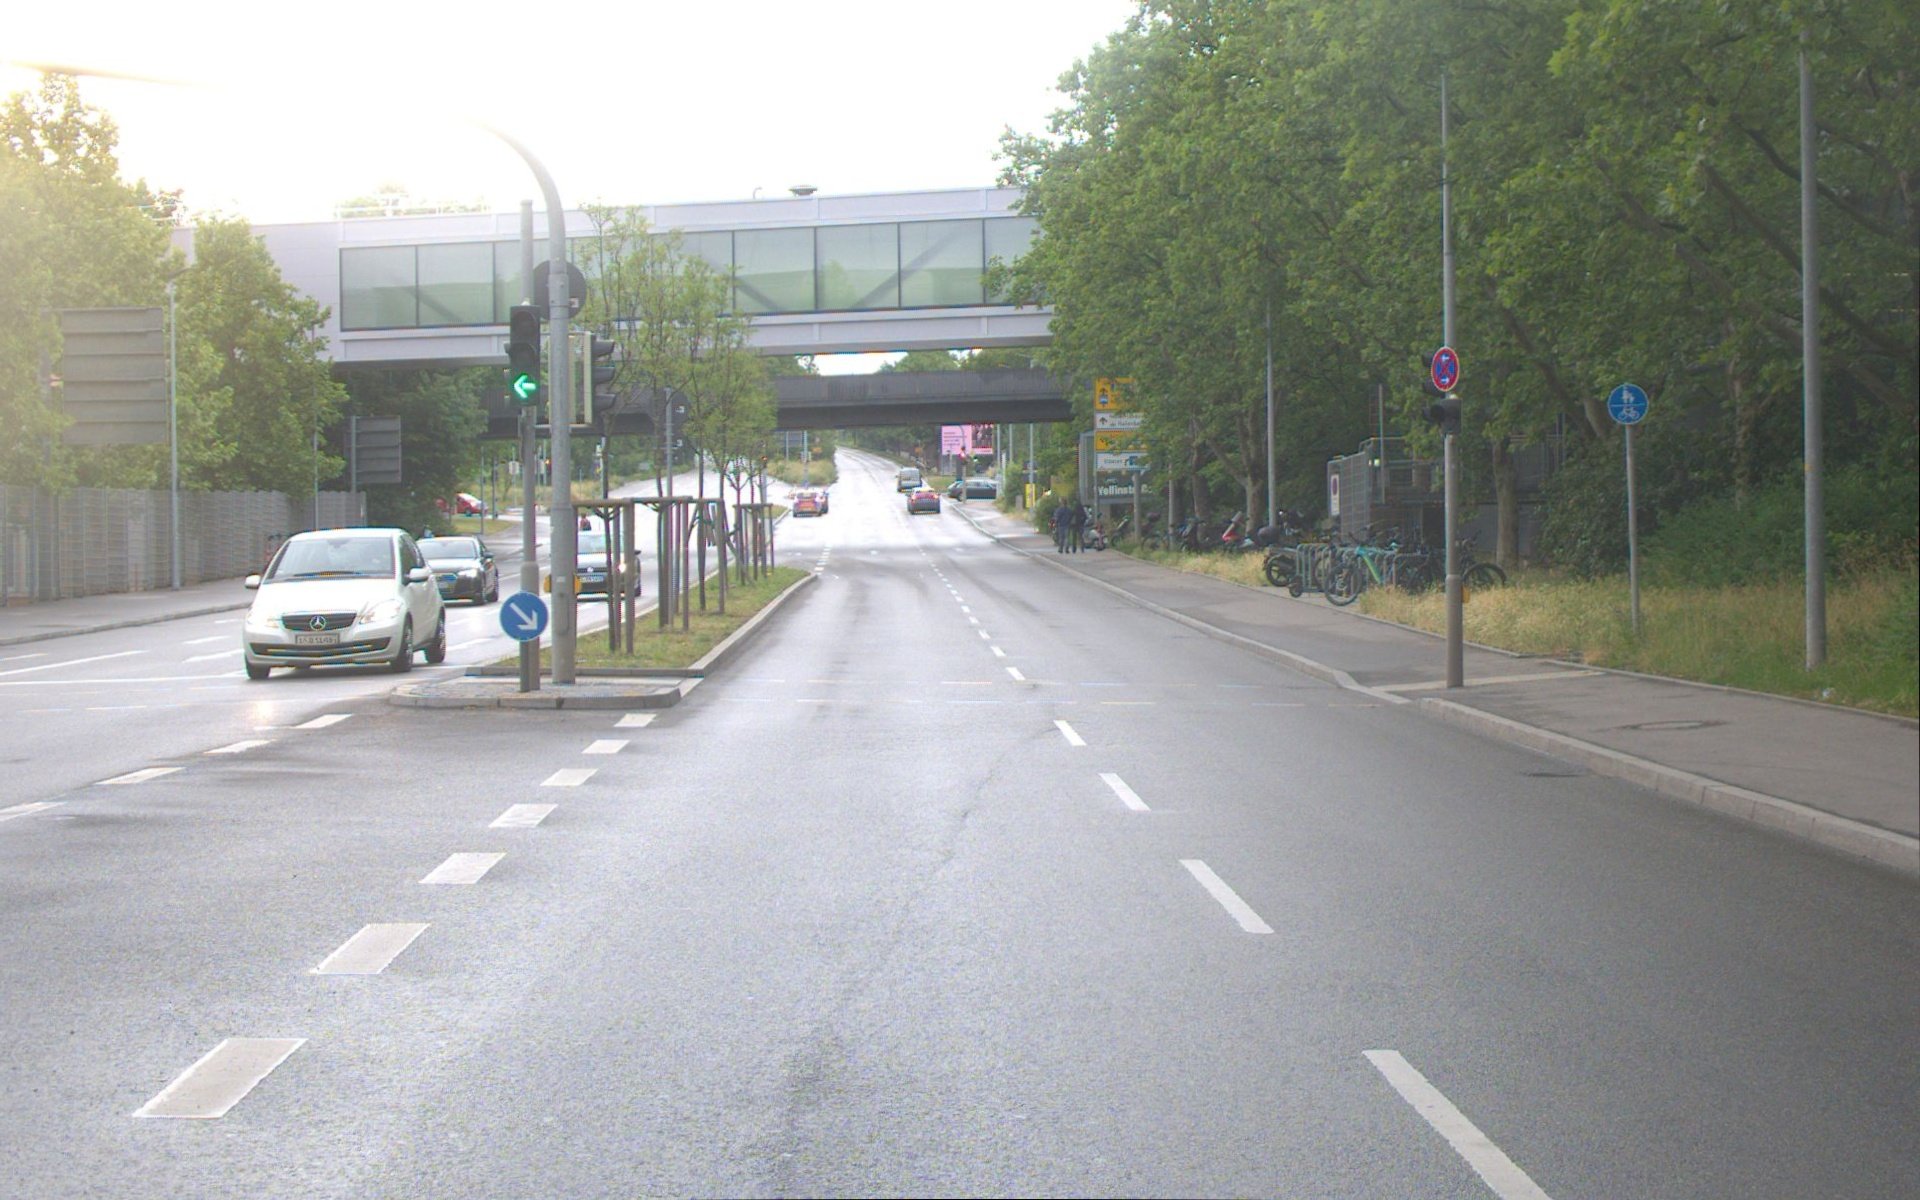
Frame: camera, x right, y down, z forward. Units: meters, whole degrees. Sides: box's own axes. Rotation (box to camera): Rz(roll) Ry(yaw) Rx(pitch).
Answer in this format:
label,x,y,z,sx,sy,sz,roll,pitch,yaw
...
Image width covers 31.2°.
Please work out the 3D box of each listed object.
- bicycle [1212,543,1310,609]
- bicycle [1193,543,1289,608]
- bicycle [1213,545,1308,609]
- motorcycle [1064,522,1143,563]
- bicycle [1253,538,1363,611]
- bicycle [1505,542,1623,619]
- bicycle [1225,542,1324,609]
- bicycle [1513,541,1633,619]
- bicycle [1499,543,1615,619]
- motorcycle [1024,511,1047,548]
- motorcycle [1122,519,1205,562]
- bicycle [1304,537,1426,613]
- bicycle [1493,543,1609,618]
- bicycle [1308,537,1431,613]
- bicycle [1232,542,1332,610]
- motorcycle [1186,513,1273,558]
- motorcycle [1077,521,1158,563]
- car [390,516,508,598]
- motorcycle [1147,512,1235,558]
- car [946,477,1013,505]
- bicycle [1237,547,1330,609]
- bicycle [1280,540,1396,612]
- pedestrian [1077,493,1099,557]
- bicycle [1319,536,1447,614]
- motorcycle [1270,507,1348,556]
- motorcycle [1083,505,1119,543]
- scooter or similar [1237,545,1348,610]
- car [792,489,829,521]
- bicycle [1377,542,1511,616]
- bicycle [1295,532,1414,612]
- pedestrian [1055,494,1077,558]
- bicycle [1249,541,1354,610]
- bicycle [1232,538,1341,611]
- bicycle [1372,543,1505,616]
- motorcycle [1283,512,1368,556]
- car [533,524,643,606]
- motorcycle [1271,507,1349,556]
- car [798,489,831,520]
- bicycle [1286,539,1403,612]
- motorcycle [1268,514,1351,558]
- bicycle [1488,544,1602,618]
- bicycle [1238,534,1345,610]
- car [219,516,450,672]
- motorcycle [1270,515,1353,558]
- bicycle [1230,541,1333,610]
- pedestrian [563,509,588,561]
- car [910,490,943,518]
label,x,y,z,sx,sy,sz,roll,pitch,yaw
bicycle,6.355,-0.505,72.660,1.963,1.324,0.654,2,0,0
bicycle,6.013,-0.515,73.573,1.963,1.324,0.654,2,0,0
bicycle,6.495,-0.503,74.378,1.963,1.324,0.654,2,0,0
motorcycle,4.451,-1.777,106.577,2.369,1.198,0.722,-1,1,7
bicycle,6.588,-0.475,65.079,1.990,1.324,0.576,2,0,0
bicycle,10.874,-0.350,61.950,1.990,1.324,0.576,2,0,0
bicycle,6.493,-0.498,71.058,1.963,1.324,0.654,2,0,0
bicycle,10.902,-0.348,61.186,1.990,1.324,0.576,2,0,0
bicycle,10.867,-0.351,62.615,1.990,1.324,0.576,2,0,0
motorcycle,3.181,-2.974,144.522,0.790,1.528,2.377,-2,1,-2
motorcycle,6.011,-1.753,101.541,2.369,1.198,0.722,-1,1,7
bicycle,6.921,-0.426,58.741,1.990,1.237,0.541,2,0,0
bicycle,10.873,-0.352,63.263,1.990,1.324,0.576,2,0,0
bicycle,6.914,-0.420,58.081,1.990,1.229,0.541,2,0,0
bicycle,6.588,-0.495,70.368,1.960,1.324,0.576,2,0,0
motorcycle,7.599,-1.805,96.801,2.369,1.198,0.722,-1,1,7
motorcycle,4.781,-1.759,104.020,2.369,1.198,0.722,-1,1,7
car,-10.591,-0.916,71.431,1.877,1.619,3.779,-1,1,0
motorcycle,6.406,-1.798,95.325,2.369,1.198,0.722,-1,1,7
car,1.353,-7.513,236.387,4.510,1.756,1.905,2,0,-1
bicycle,7.140,-0.487,75.881,1.963,1.324,0.654,2,0,0
bicycle,6.784,-0.434,61.799,1.990,1.237,0.541,2,0,0
pedestrian,4.068,-2.395,109.484,0.622,2.007,0.605,-2,1,0
bicycle,6.874,-0.410,55.891,1.990,1.212,0.541,2,0,0
motorcycle,10.994,-2.167,108.273,2.369,1.471,0.722,-1,1,7
motorcycle,5.004,-2.686,121.779,0.790,1.307,2.377,-2,1,-9
scooter or similar,6.177,-0.417,63.936,1.990,1.134,0.541,2,0,0
car,-8.985,-5.696,206.715,1.993,1.756,4.000,2,0,0
bicycle,7.578,-0.327,53.864,1.990,1.091,0.541,2,0,0
bicycle,6.905,-0.494,60.158,1.990,1.336,0.541,2,0,0
pedestrian,3.391,-2.355,109.562,0.622,2.007,0.605,-2,1,0
bicycle,6.798,-0.486,68.419,1.990,1.324,0.576,2,0,0
bicycle,6.255,-0.486,65.888,1.990,1.324,0.576,2,0,0
bicycle,7.572,-0.328,54.433,1.990,1.091,0.541,2,0,0
motorcycle,10.514,-1.888,98.900,2.369,1.198,0.722,-1,1,7
car,-7.698,-0.748,71.480,1.877,1.619,3.779,-1,1,0
motorcycle,10.902,-2.124,107.039,2.369,1.471,0.722,-1,1,7
car,-8.955,-5.844,211.653,1.884,1.756,3.969,2,0,0
bicycle,6.800,-0.432,60.850,1.990,1.237,0.541,2,0,0
motorcycle,10.194,-1.863,100.166,2.369,1.198,0.722,-1,1,7
bicycle,10.876,-0.353,63.932,1.990,1.324,0.576,2,0,0
bicycle,6.508,-0.544,67.565,1.990,1.425,0.723,2,0,0
car,-6.885,-0.101,38.216,1.877,1.619,3.779,-1,1,0
motorcycle,10.342,-1.871,101.053,2.369,1.198,0.722,-1,1,7
bicycle,6.462,-0.485,69.130,1.990,1.324,0.576,2,0,0
pedestrian,-14.969,-2.529,133.822,0.872,1.997,0.855,-2,1,-4
car,-1.990,-5.632,202.887,1.875,1.492,4.068,2,0,0
